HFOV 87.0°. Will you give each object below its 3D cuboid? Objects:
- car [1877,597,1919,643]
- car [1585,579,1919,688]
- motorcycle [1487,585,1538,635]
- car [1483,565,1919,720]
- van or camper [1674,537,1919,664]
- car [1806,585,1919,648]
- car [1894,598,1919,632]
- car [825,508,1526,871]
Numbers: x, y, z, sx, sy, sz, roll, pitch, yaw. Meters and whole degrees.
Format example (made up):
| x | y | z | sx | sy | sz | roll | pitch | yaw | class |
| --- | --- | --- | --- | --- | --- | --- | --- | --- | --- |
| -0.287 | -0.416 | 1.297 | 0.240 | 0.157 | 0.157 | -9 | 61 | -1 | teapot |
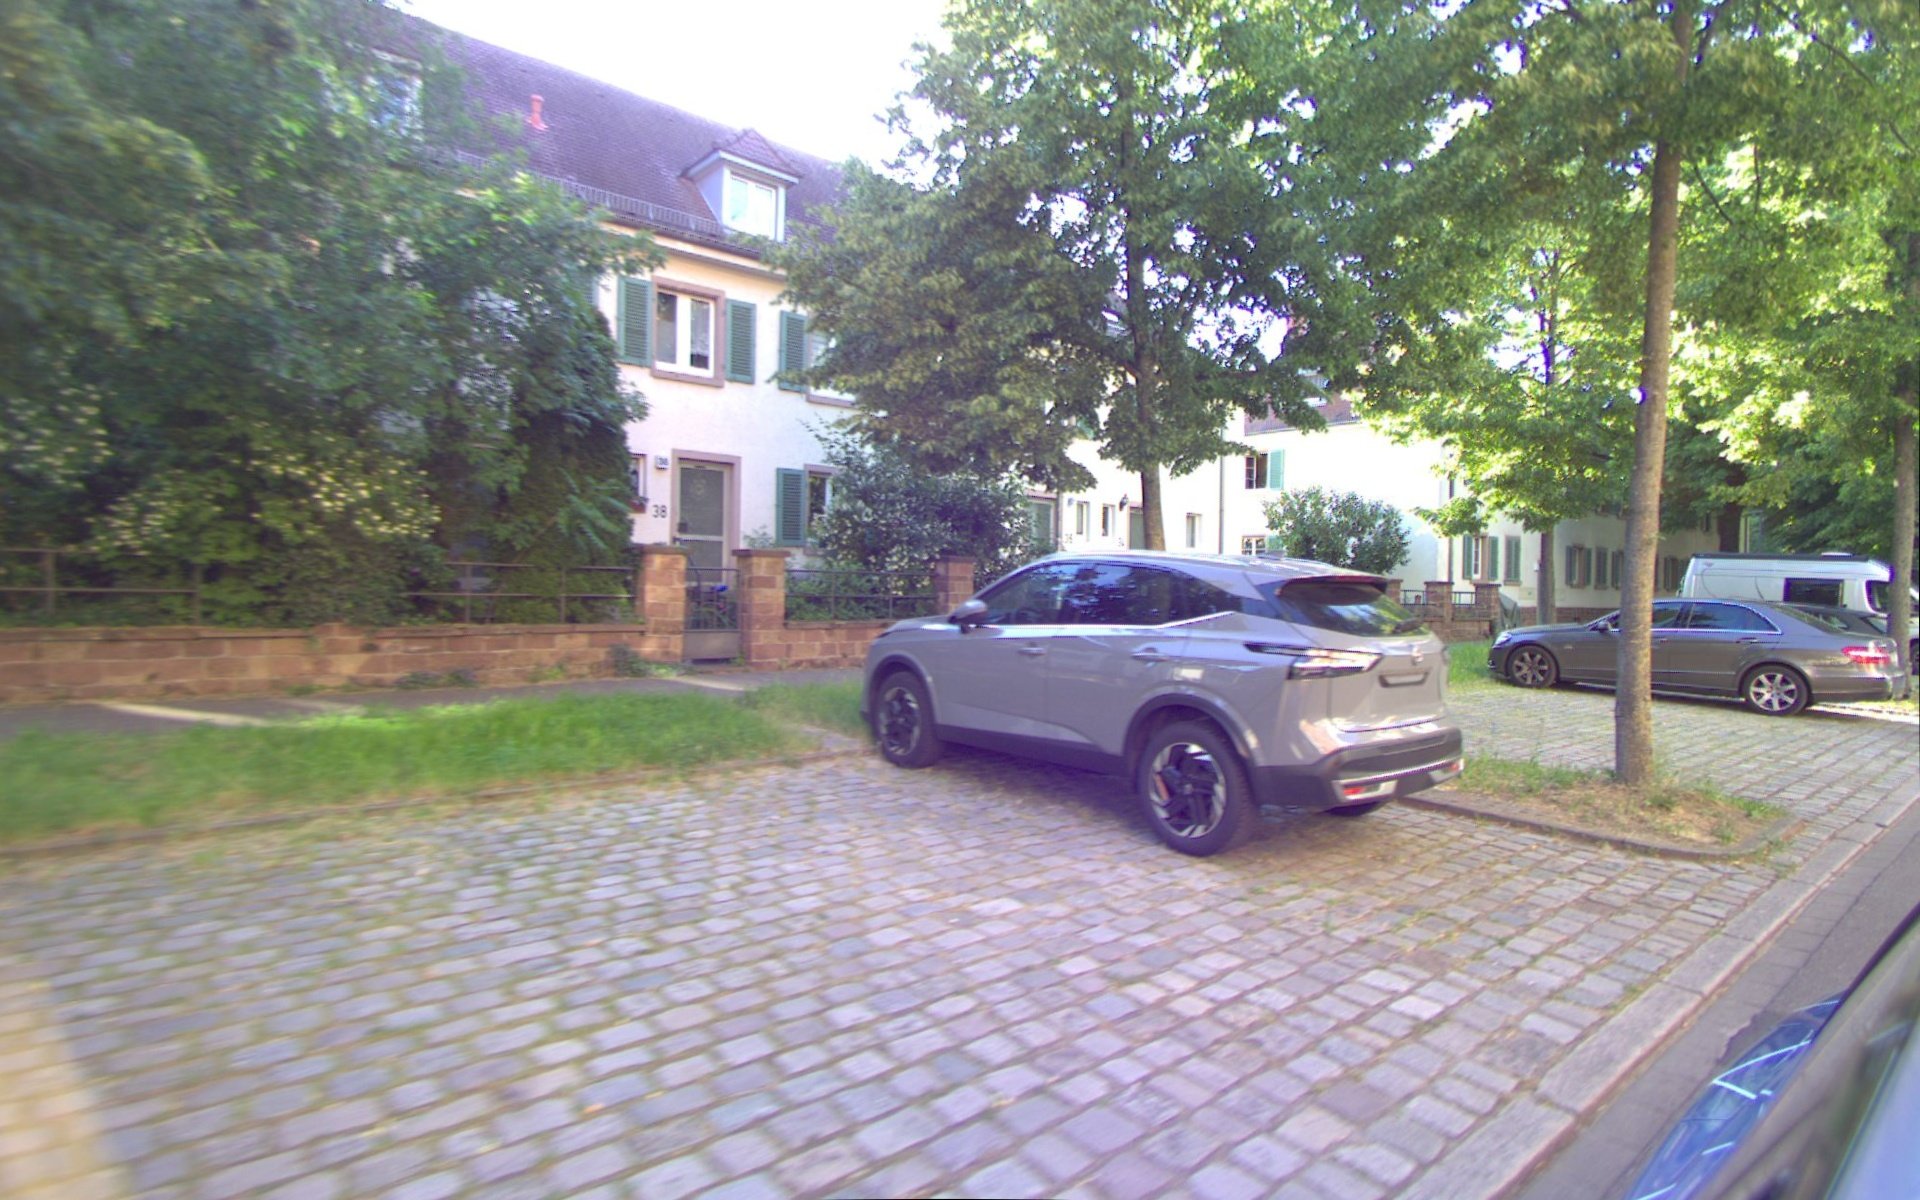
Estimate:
| x | y | z | sx | sy | sz | roll | pitch | yaw | class |
| --- | --- | --- | --- | --- | --- | --- | --- | --- | --- |
| 34.839 | 0.746 | 35.318 | 1.528 | 1.571 | 3.996 | 1 | 2 | -40 | car |
| 14.160 | 0.497 | 18.285 | 1.795 | 1.453 | 4.488 | 1 | 4 | -40 | car |
| 16.223 | 0.283 | 29.690 | 1.981 | 1.424 | 0.660 | -1 | 0 | -41 | motorcycle |
| 10.265 | 0.431 | 14.158 | 1.862 | 1.558 | 4.847 | 0 | 4 | -42 | car |
| 20.038 | -0.033 | 23.034 | 2.124 | 2.547 | 5.734 | 1 | 4 | -40 | van or camper |
| 29.124 | 0.543 | 31.042 | 1.966 | 1.737 | 4.603 | 1 | 3 | -42 | car |
| 45.497 | 0.742 | 46.264 | 1.546 | 1.531 | 3.991 | 1 | 2 | -43 | car |
| 1.099 | 0.268 | 6.996 | 1.842 | 1.653 | 4.486 | 0 | 4 | -41 | car |
